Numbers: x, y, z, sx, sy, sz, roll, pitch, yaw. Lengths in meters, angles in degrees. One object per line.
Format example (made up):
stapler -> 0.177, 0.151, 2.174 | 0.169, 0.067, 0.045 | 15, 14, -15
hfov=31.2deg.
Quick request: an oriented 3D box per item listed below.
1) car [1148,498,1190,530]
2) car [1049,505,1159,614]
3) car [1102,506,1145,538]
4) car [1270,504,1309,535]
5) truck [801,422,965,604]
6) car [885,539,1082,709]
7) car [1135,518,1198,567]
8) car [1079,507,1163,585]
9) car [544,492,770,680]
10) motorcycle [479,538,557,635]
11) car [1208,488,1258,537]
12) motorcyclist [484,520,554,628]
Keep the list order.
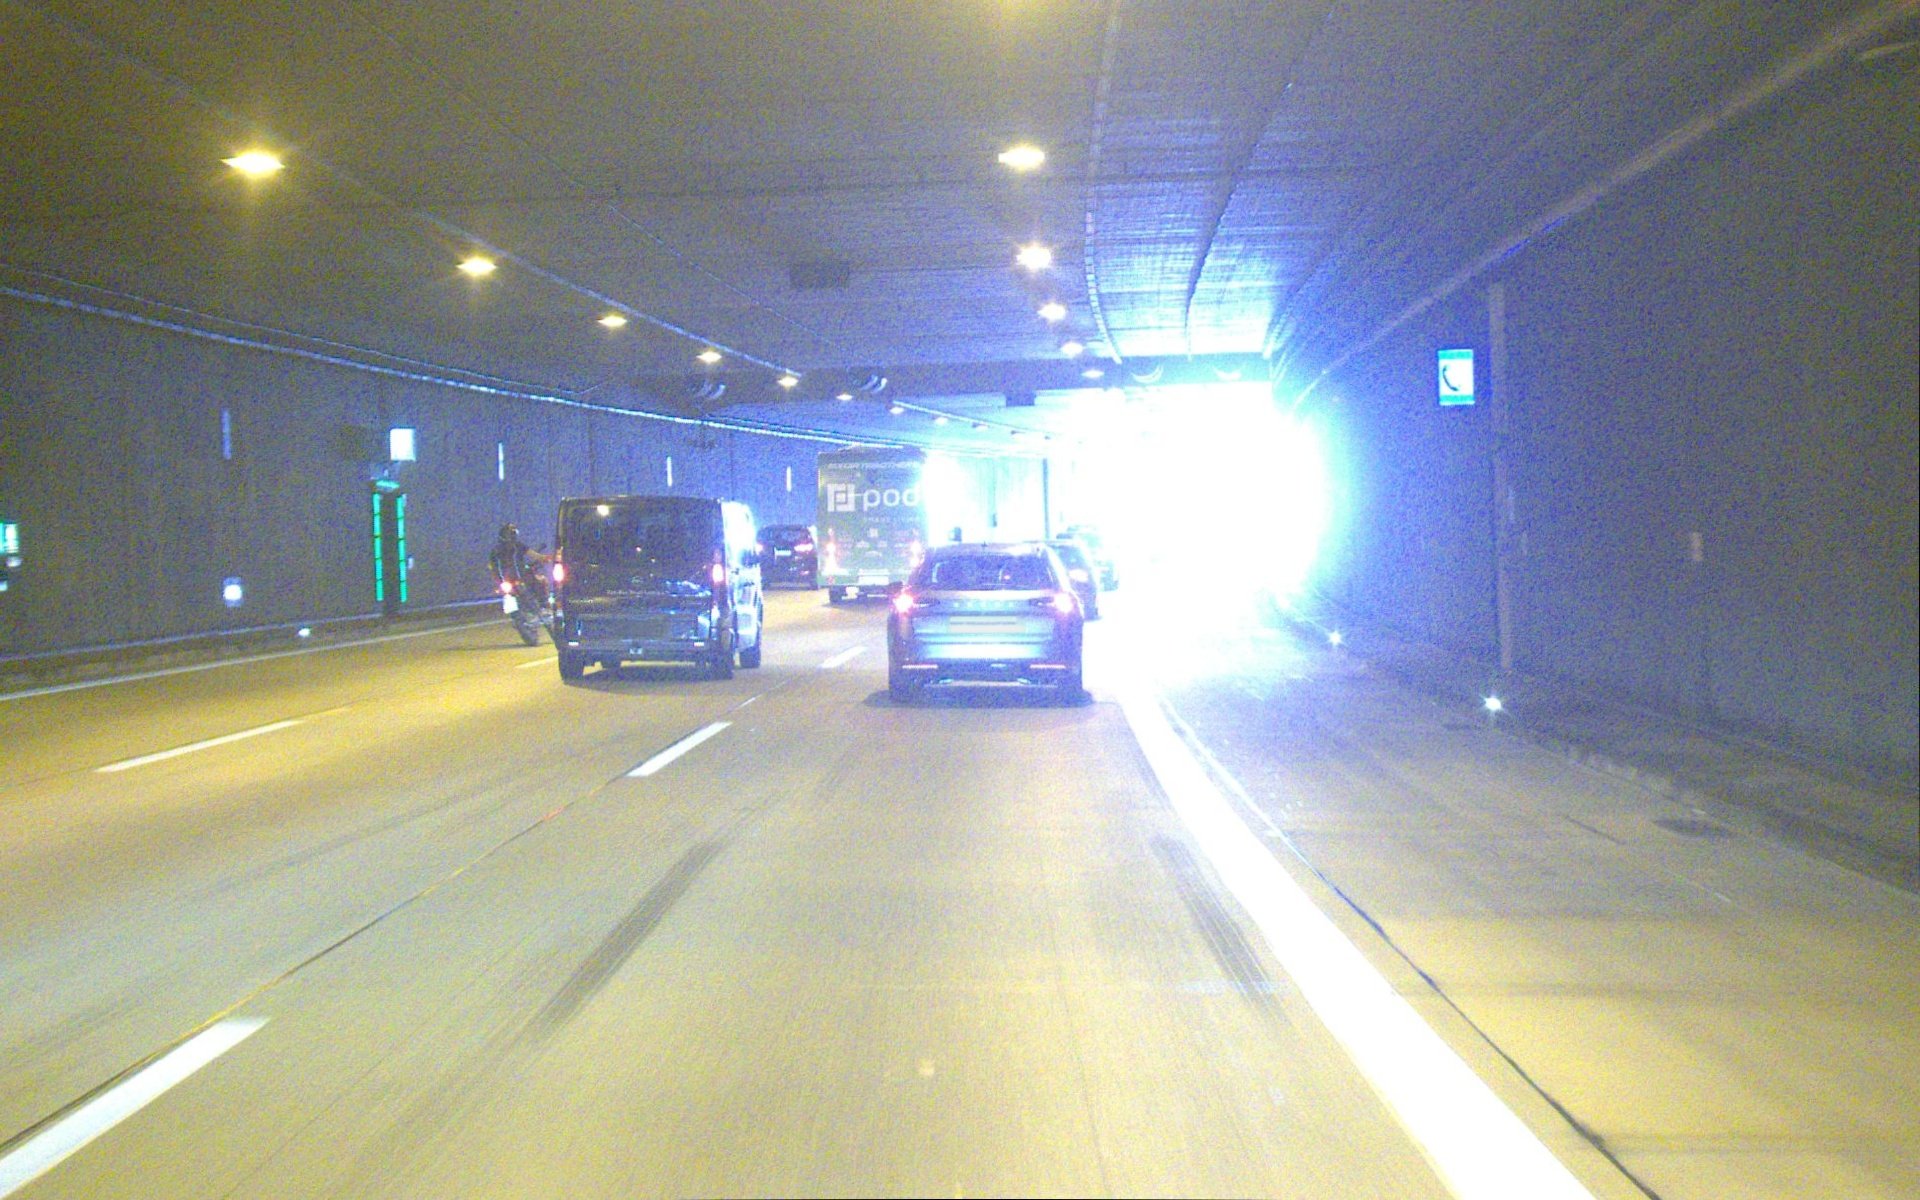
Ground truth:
car -> 11.838, -4.857, 194.479 | 1.931, 1.637, 3.998 | 0, -1, 10
car -> 2.541, -0.720, 60.294 | 1.857, 1.848, 4.000 | 0, 1, 3
car -> 8.423, -4.021, 177.019 | 1.931, 1.637, 3.999 | 0, 1, 7
car -> 17.768, -4.342, 185.183 | 1.931, 1.637, 3.999 | 0, 1, 8
truck -> -1.550, -1.822, 73.054 | 3.039, 3.660, 7.392 | 0, 1, 2
car -> 0.259, 0.178, 32.418 | 1.742, 1.459, 3.871 | 0, 2, 2
car -> 7.492, -2.085, 125.017 | 1.930, 1.637, 4.000 | 0, -1, -2
car -> 3.966, -1.299, 84.216 | 1.950, 1.766, 3.999 | 0, -1, 4
car -> -3.238, -0.198, 37.476 | 1.910, 1.937, 3.871 | 0, 2, 3
motorcycle -> -6.037, -0.174, 47.025 | 0.683, 1.292, 2.398 | 0, 0, 2
car -> 12.139, -3.889, 153.100 | 1.993, 2.007, 3.999 | 0, -1, 2
motorcyclist -> -6.033, -0.345, 47.039 | 0.777, 1.448, 1.069 | 0, -1, 2
